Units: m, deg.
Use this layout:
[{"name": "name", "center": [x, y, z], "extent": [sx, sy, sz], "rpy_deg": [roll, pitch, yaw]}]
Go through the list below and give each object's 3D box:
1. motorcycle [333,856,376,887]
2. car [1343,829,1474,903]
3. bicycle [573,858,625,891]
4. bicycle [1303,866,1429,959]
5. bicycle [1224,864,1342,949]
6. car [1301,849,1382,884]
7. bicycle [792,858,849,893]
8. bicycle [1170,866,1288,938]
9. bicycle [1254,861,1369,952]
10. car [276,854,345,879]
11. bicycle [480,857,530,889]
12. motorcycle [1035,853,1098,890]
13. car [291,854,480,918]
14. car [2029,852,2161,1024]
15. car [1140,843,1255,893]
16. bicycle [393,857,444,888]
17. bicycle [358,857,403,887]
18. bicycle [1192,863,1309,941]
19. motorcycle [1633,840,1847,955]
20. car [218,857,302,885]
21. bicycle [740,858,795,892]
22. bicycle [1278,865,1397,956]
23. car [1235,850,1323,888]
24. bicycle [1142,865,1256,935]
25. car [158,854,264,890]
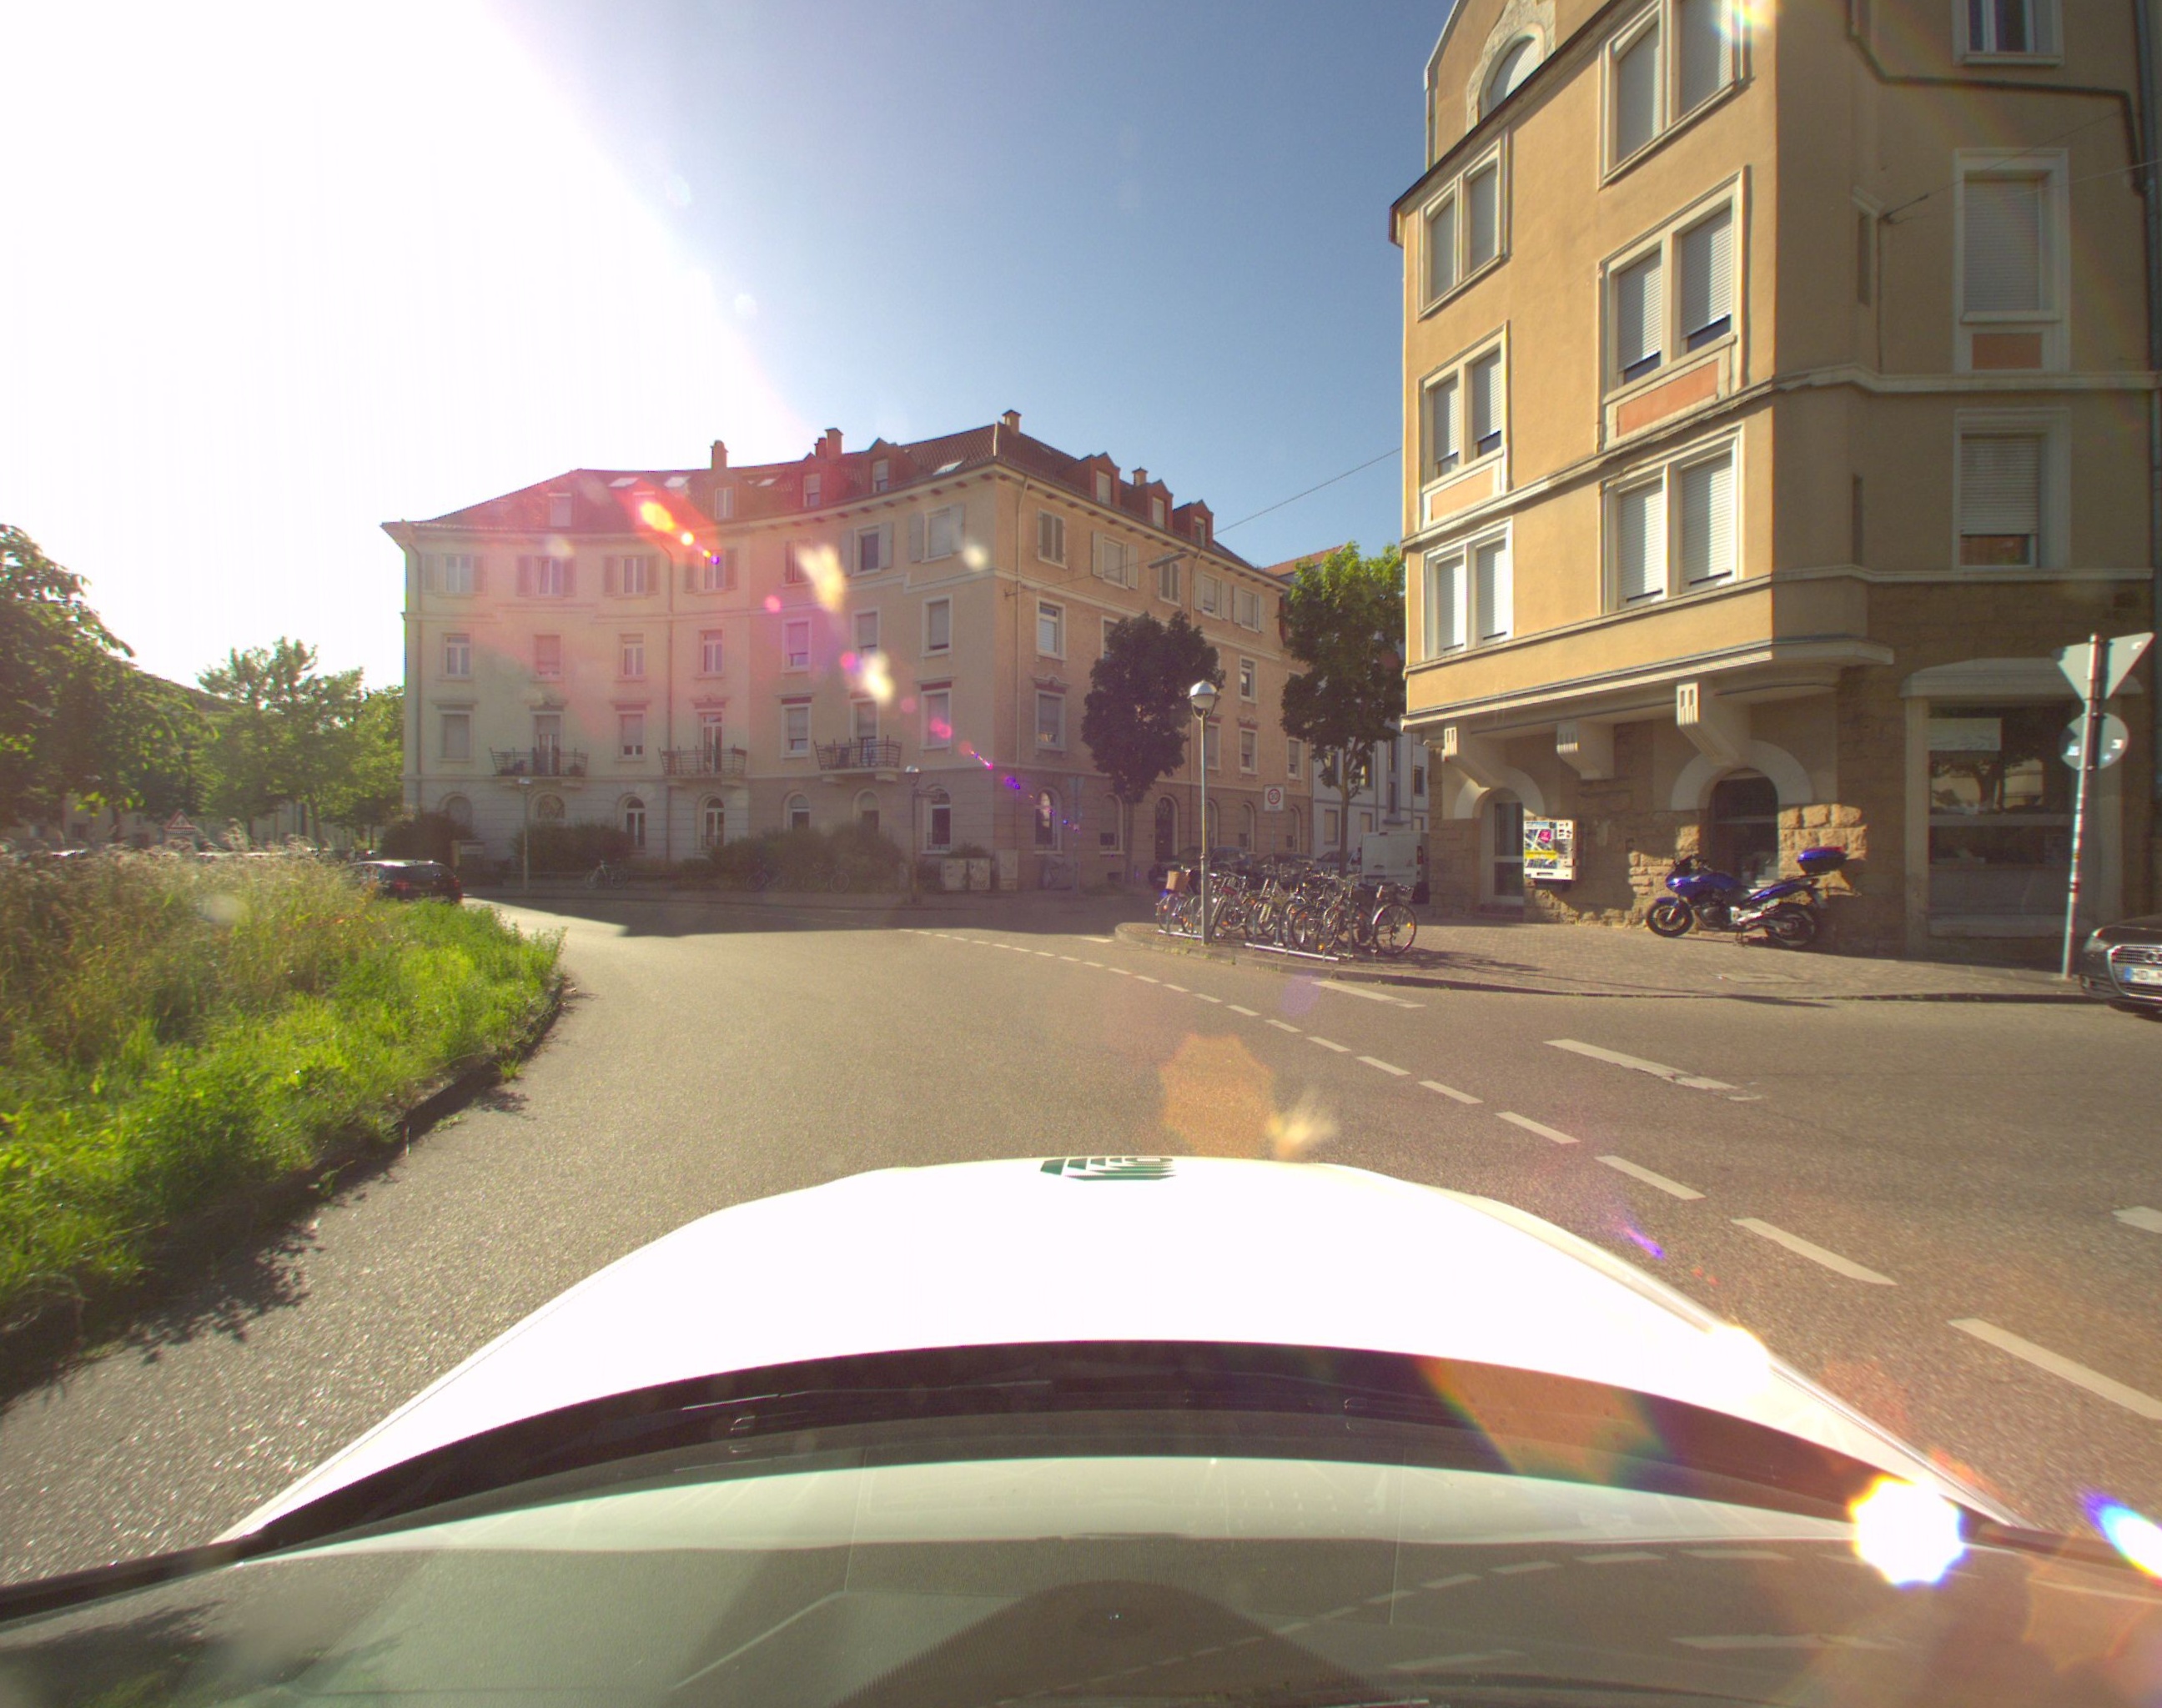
[{"name": "motorcycle", "center": [-29.992, 0.712, 33.655], "extent": [0.890, 1.191, 1.478], "rpy_deg": [-2, 2, -25]}, {"name": "car", "center": [9.532, 0.320, 23.495], "extent": [2.114, 1.909, 4.589], "rpy_deg": [0, 0, 41]}, {"name": "bicycle", "center": [-16.702, 0.696, 28.233], "extent": [1.668, 1.088, 0.505], "rpy_deg": [0, 2, 15]}, {"name": "bicycle", "center": [3.704, 0.721, 10.539], "extent": [1.722, 1.123, 0.479], "rpy_deg": [0, -1, -27]}, {"name": "bicycle", "center": [2.939, 0.722, 11.788], "extent": [1.701, 1.145, 0.611], "rpy_deg": [0, -1, -29]}, {"name": "car", "center": [11.672, 0.541, 36.363], "extent": [4.024, 1.486, 1.681], "rpy_deg": [0, 0, -43]}, {"name": "bicycle", "center": [-8.358, 0.686, 26.125], "extent": [1.669, 1.088, 0.504], "rpy_deg": [0, 2, 13]}, {"name": "bicycle", "center": [2.398, 0.750, 13.188], "extent": [1.880, 1.090, 0.532], "rpy_deg": [0, -1, -21]}, {"name": "bicycle", "center": [3.217, 0.696, 11.309], "extent": [1.701, 1.191, 0.447], "rpy_deg": [0, -1, -29]}, {"name": "car", "center": [-42.055, 0.661, 44.518], "extent": [1.805, 1.255, 3.685], "rpy_deg": [-1, 0, -28]}, {"name": "bicycle", "center": [-21.215, 0.687, 30.020], "extent": [0.496, 1.107, 1.685], "rpy_deg": [0, 1, 6]}, {"name": "motorcycle", "center": [-0.493, 0.594, 28.946], "extent": [2.165, 1.220, 0.931], "rpy_deg": [-1, 2, -43]}, {"name": "car", "center": [-17.314, 0.734, 20.301], "extent": [3.953, 1.419, 1.880], "rpy_deg": [1, 1, 20]}, {"name": "car", "center": [10.657, 0.671, 6.688], "extent": [3.899, 1.390, 1.687], "rpy_deg": [0, -1, -2]}, {"name": "car", "center": [4.212, 0.454, 29.058], "extent": [1.885, 1.642, 4.373], "rpy_deg": [0, 0, 44]}, {"name": "bicycle", "center": [-24.295, 0.673, 29.869], "extent": [1.781, 1.107, 0.502], "rpy_deg": [0, 1, 16]}, {"name": "bicycle", "center": [-26.134, 0.661, 30.368], "extent": [1.778, 1.107, 0.503], "rpy_deg": [0, 1, 22]}, {"name": "bicycle", "center": [2.630, 0.713, 12.618], "extent": [1.697, 1.145, 0.633], "rpy_deg": [0, -1, -21]}, {"name": "motorcycle", "center": [9.159, 0.532, 11.458], "extent": [0.702, 1.411, 2.230], "rpy_deg": [-1, 2, -29]}, {"name": "car", "center": [-38.889, 0.770, 38.690], "extent": [1.805, 1.255, 3.685], "rpy_deg": [-1, 0, -28]}, {"name": "bicycle", "center": [-10.306, 0.683, 26.805], "extent": [1.669, 1.088, 0.504], "rpy_deg": [0, 2, 13]}, {"name": "bicycle", "center": [3.464, 0.724, 10.939], "extent": [1.701, 1.123, 0.479], "rpy_deg": [0, -1, -29]}, {"name": "car", "center": [7.966, 0.567, 32.631], "extent": [3.683, 1.412, 1.681], "rpy_deg": [0, 0, -43]}, {"name": "bicycle", "center": [2.014, 0.755, 13.855], "extent": [1.871, 1.130, 0.693], "rpy_deg": [0, -2, -27]}, {"name": "car", "center": [-36.943, 0.727, 34.719], "extent": [1.804, 1.413, 3.965], "rpy_deg": [0, 0, -27]}]
